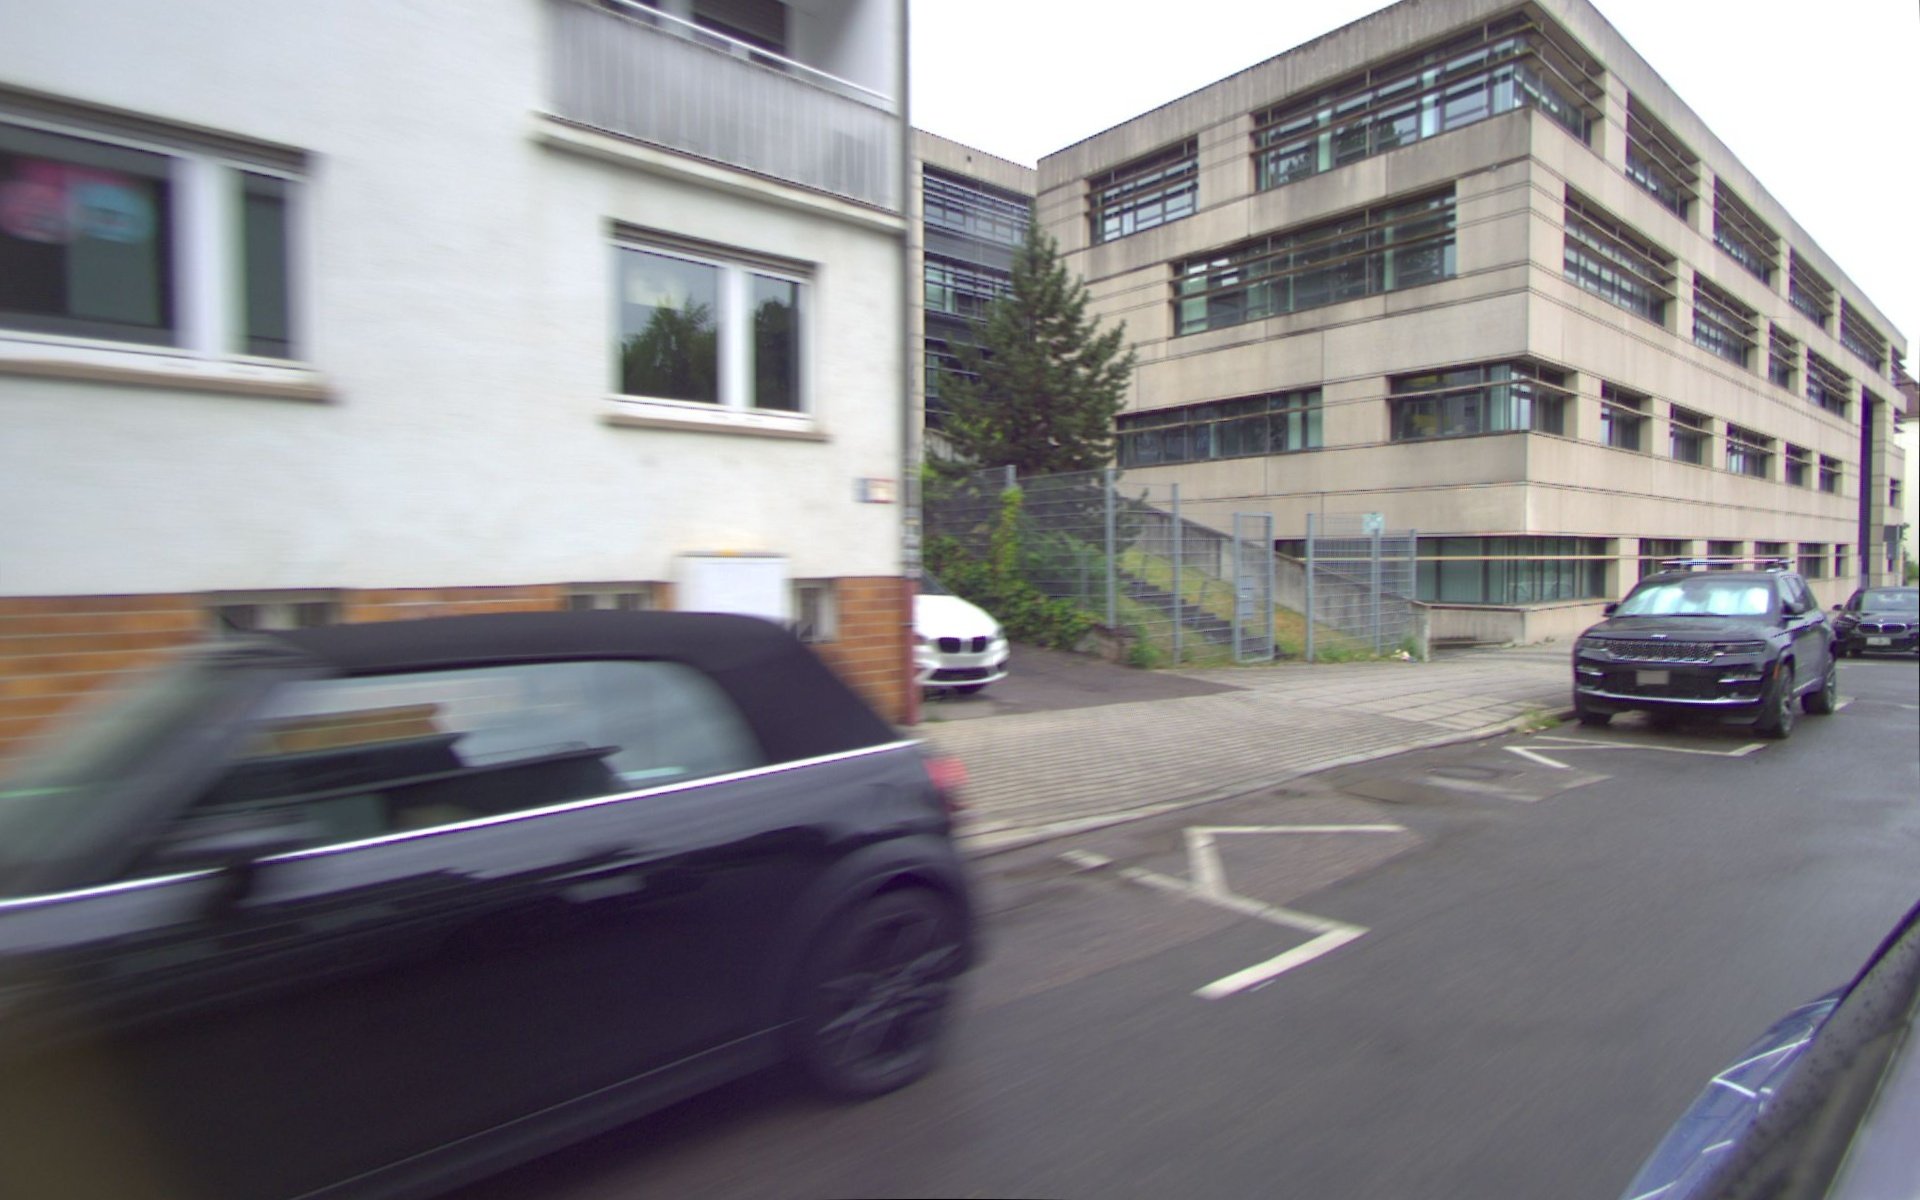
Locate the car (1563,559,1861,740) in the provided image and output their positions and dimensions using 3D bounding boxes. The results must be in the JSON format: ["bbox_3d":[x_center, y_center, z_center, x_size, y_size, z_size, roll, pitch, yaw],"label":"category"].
[{"bbox_3d":[9.171,0.427,12.177,4.713,1.772,1.939,-1,1,-41],"label":"car"}]

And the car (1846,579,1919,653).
[{"bbox_3d":[21.757,0.315,23.176,4.246,1.552,1.745,-1,1,-42],"label":"car"}]

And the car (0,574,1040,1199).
[{"bbox_3d":[-1.665,0.687,2.806,3.700,1.477,1.676,-2,2,-41],"label":"car"}]

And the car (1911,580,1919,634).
[{"bbox_3d":[29.621,0.161,29.980,3.988,1.531,1.728,-2,0,-41],"label":"car"}]

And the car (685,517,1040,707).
[{"bbox_3d":[-1.327,-0.042,11.736,1.872,1.733,4.448,-1,5,-41],"label":"car"}]
